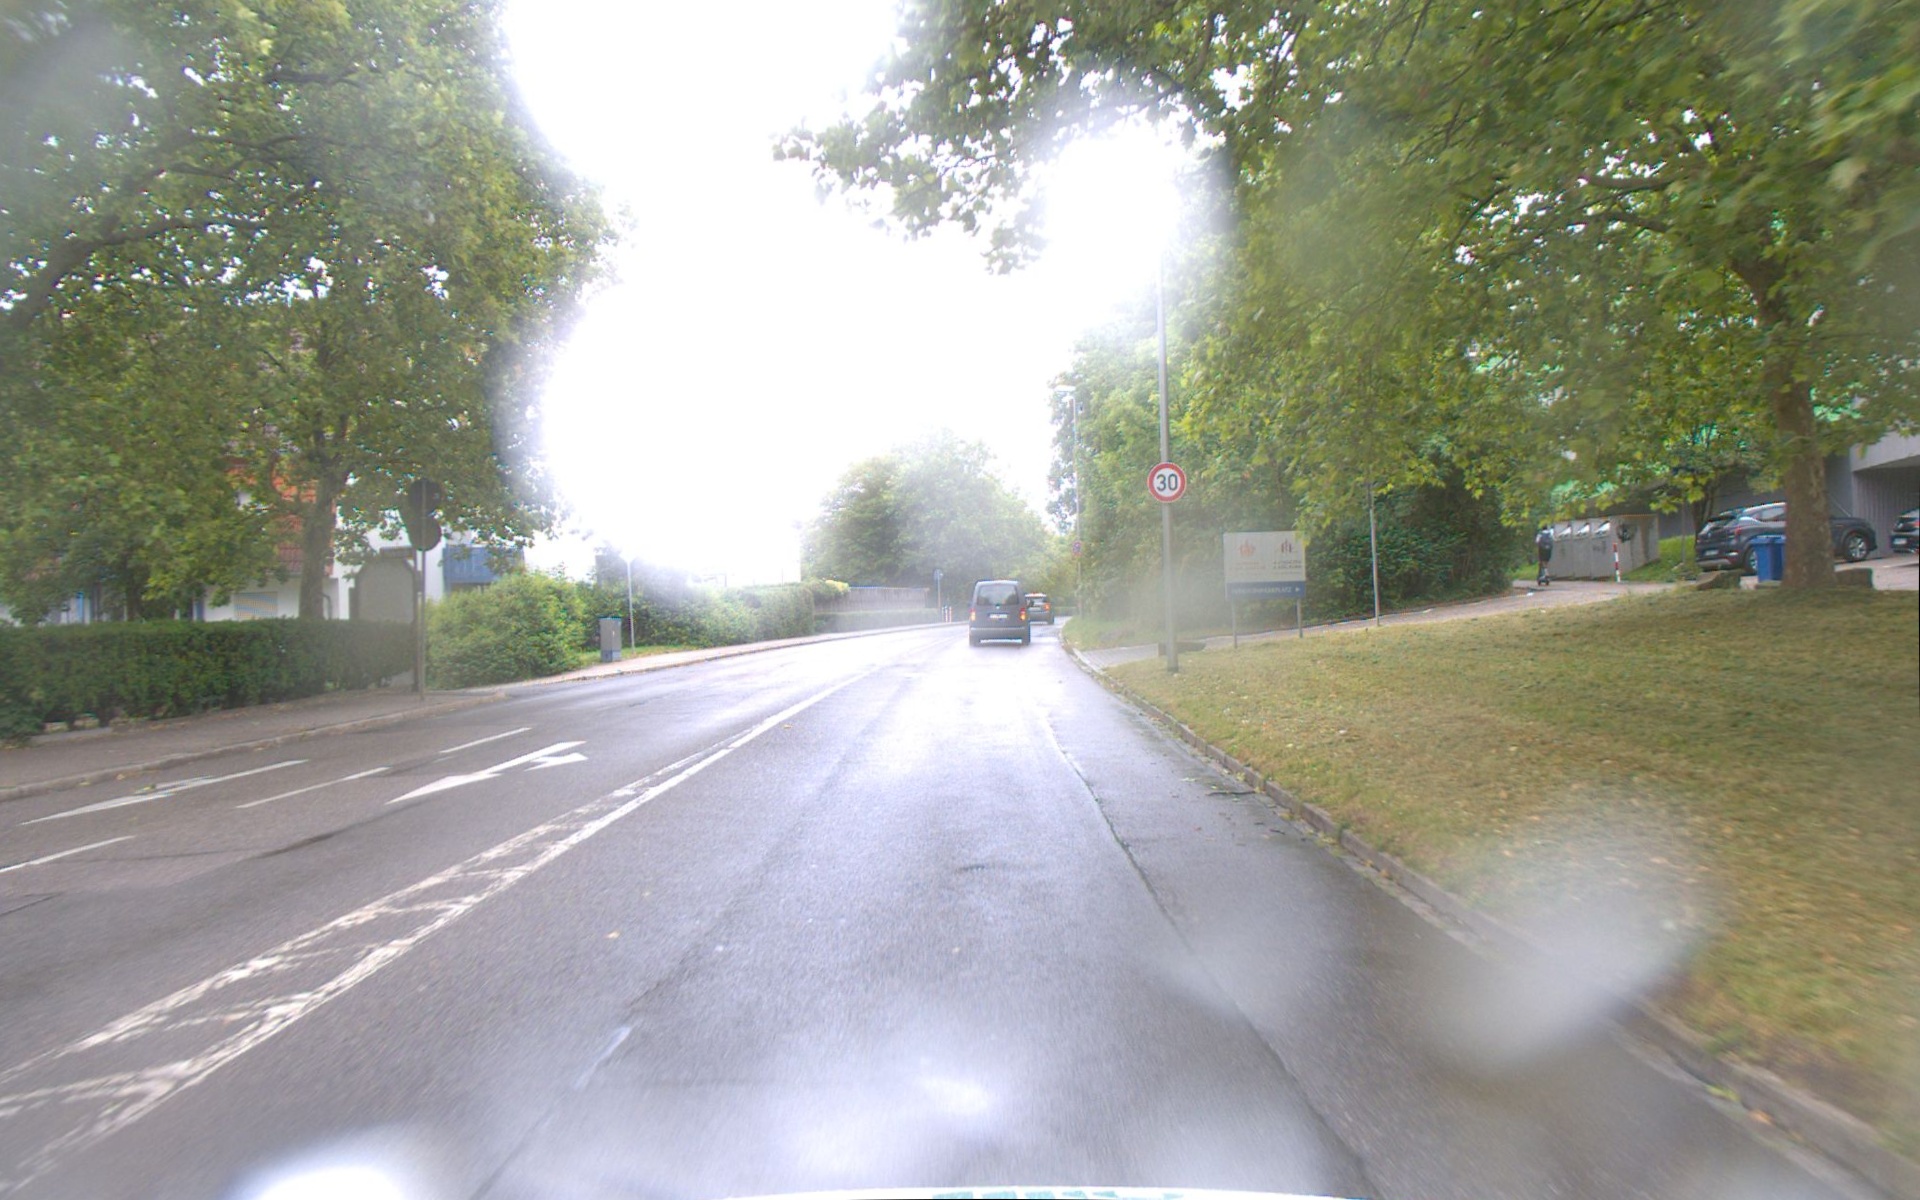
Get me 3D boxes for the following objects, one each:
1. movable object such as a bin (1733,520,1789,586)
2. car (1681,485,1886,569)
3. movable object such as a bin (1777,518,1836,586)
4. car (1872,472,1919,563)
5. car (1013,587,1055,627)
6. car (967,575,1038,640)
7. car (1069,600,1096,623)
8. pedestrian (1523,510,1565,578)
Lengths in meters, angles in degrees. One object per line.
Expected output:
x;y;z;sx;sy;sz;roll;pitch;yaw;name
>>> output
14.035;-0.817;28.988;0.655;1.140;0.662;1;0;-4;movable object such as a bin
19.729;-1.728;39.704;3.910;1.780;1.998;-3;0;-6;car
14.461;-0.813;28.272;0.655;1.140;0.662;1;0;-4;movable object such as a bin
21.008;-1.747;33.539;3.902;1.780;2.002;-3;0;8;car
3.659;0.334;81.087;1.909;1.780;4.002;-3;1;4;car
1.198;0.184;48.500;1.953;1.825;4.000;0;1;0;car
9.728;0.921;131.457;1.952;1.780;4.001;1;0;1;car
15.751;-1.503;44.613;0.651;1.780;0.846;-2;0;-17;pedestrian
